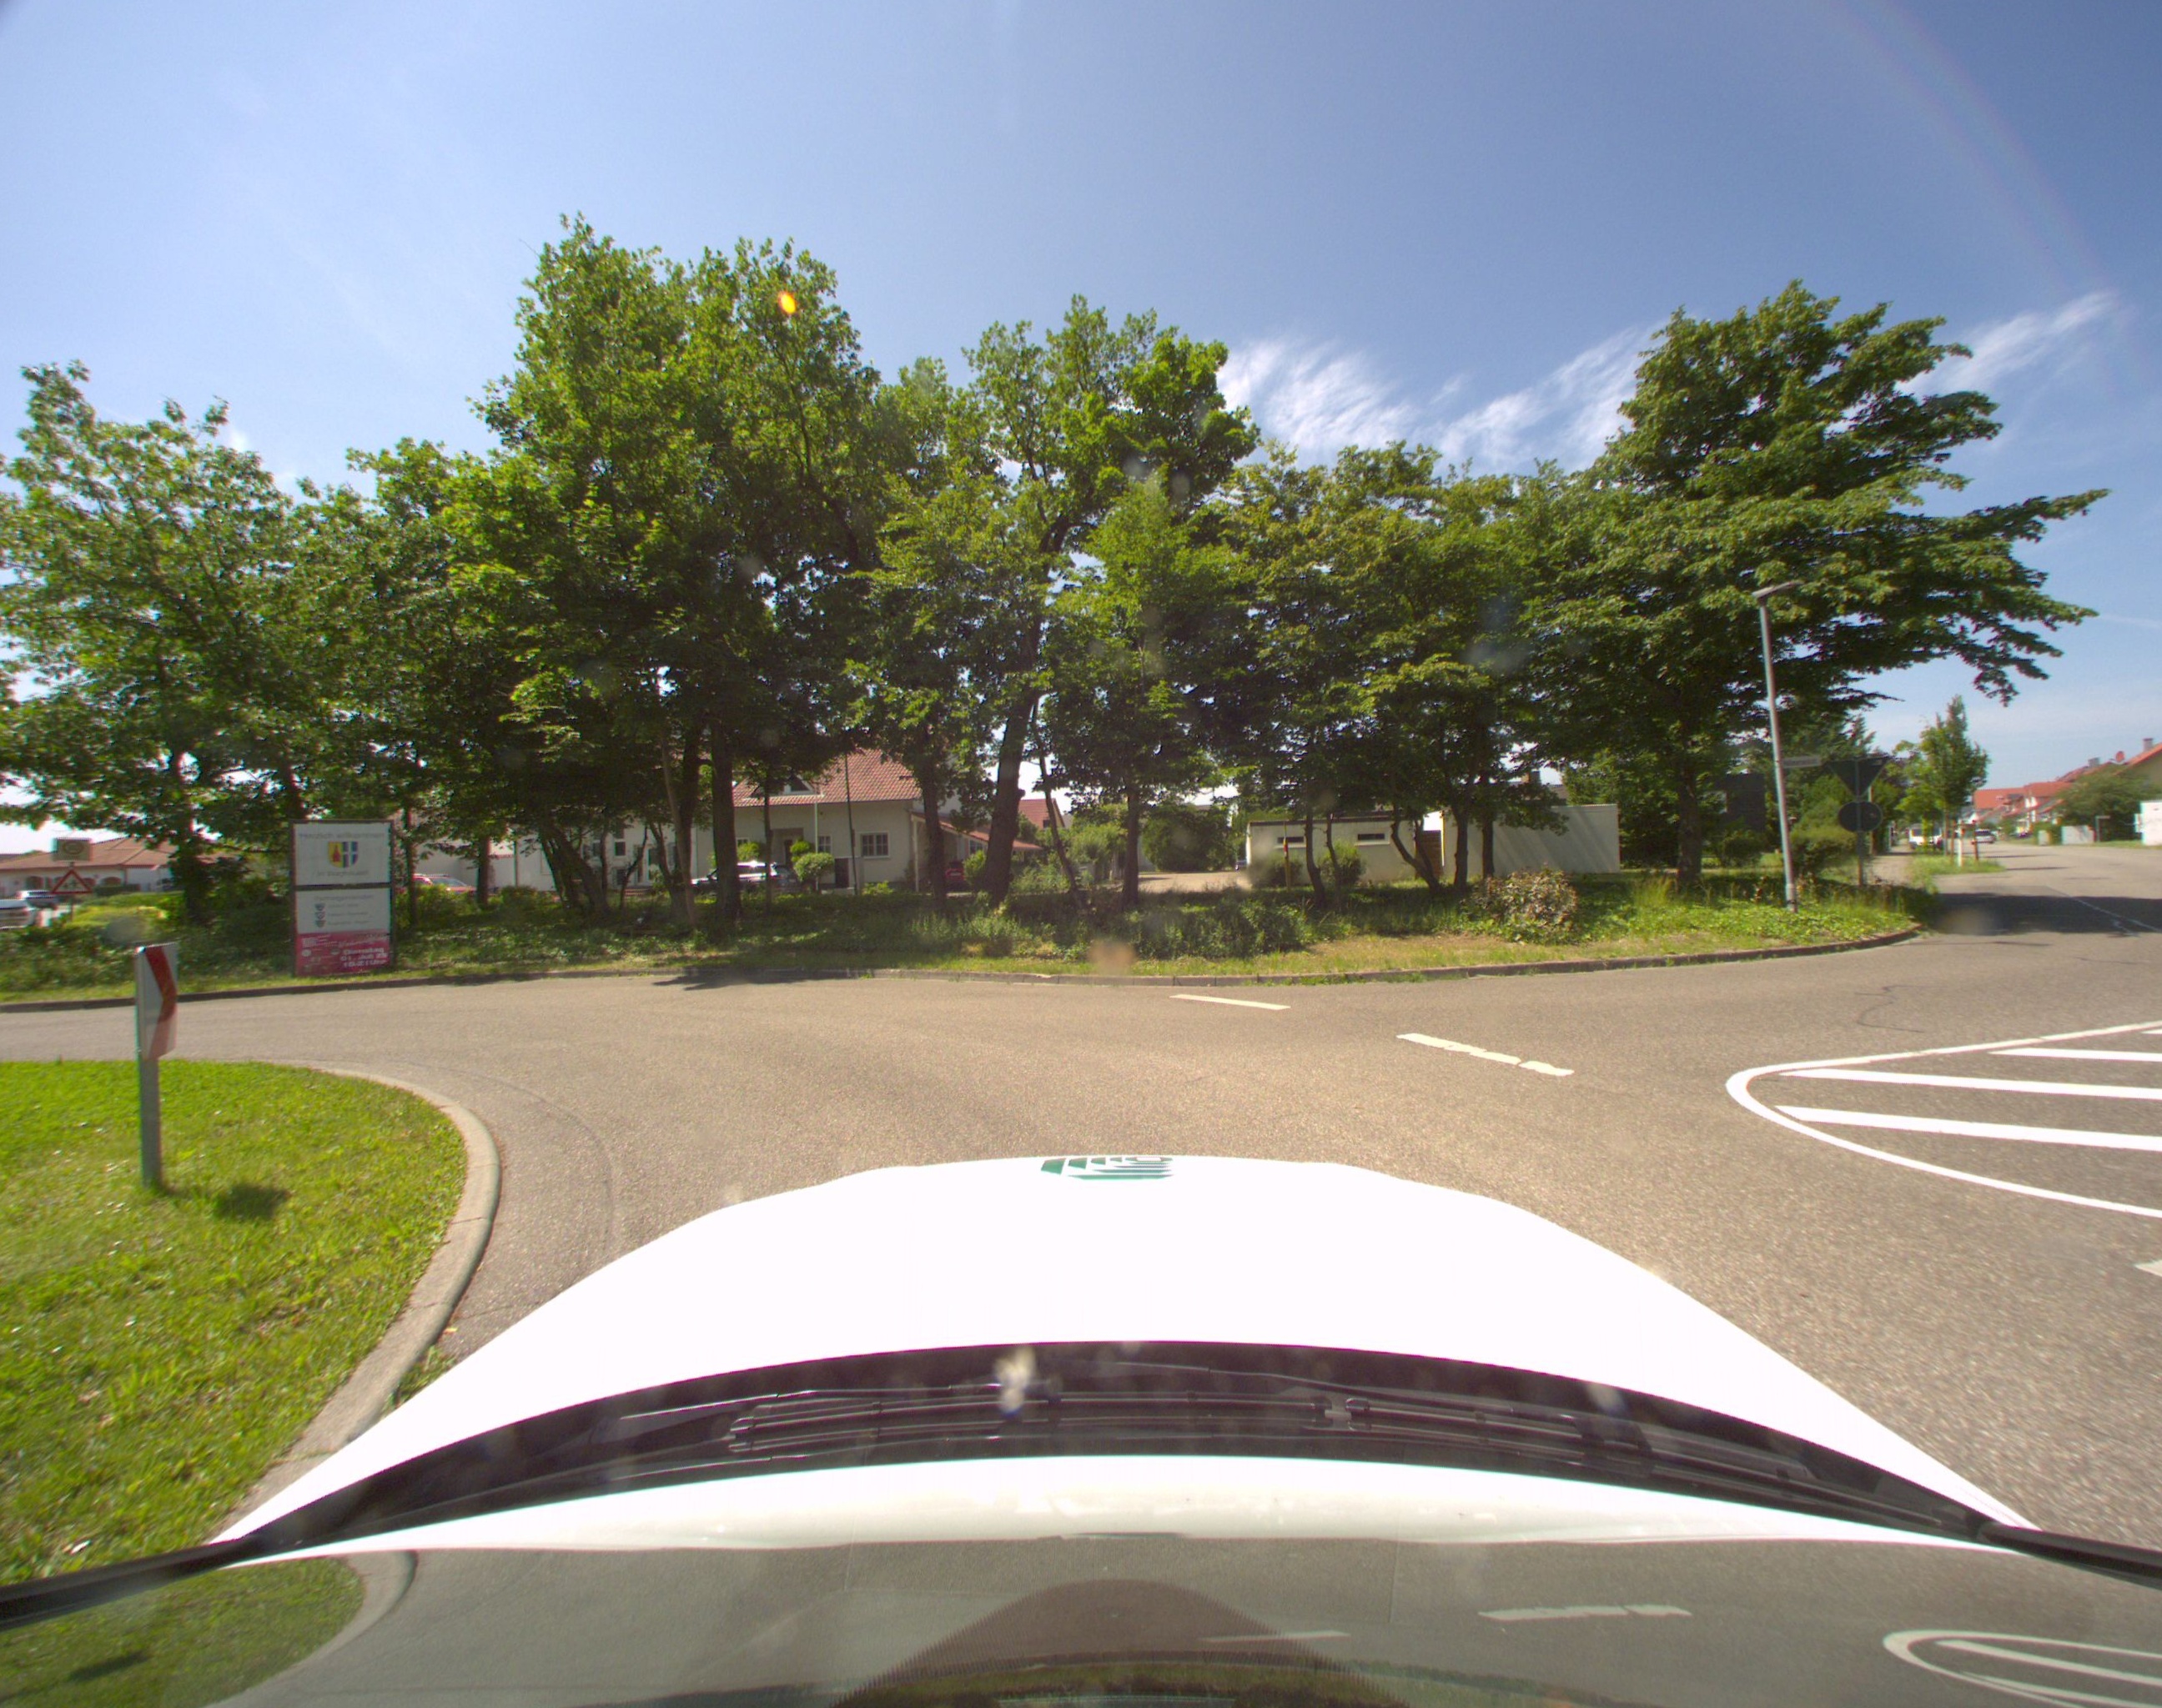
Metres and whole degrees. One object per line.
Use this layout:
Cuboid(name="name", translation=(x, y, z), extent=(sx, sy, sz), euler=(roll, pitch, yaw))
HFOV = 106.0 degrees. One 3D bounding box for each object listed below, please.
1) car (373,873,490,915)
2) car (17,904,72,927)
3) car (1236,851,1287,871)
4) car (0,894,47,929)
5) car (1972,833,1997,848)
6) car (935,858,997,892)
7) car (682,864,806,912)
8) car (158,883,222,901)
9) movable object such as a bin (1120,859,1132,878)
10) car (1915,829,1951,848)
Cuboid(name="car", translation=(-27.471, 1.686, 34.464), extent=(3.986, 1.601, 1.672), euler=(-2, -1, 12))
Cuboid(name="car", translation=(-73.067, 4.327, 57.392), extent=(3.950, 1.486, 1.643), euler=(-2, 0, 27))
Cuboid(name="car", translation=(12.263, 0.481, 55.589), extent=(3.250, 1.253, 1.577), euler=(-2, 0, 7))
Cuboid(name="car", translation=(-42.152, 2.254, 32.044), extent=(3.511, 1.288, 1.630), euler=(-2, -1, 41))
Cuboid(name="car", translation=(112.662, -1.685, 101.586), extent=(4.023, 1.661, 1.819), euler=(1, -3, -45))
Cuboid(name="car", translation=(-5.288, 0.945, 37.992), extent=(1.668, 1.385, 3.706), euler=(-2, 0, 12))
Cuboid(name="car", translation=(-13.014, 1.301, 31.534), extent=(4.107, 1.705, 1.670), euler=(-2, -1, 8))
Cuboid(name="car", translation=(-84.165, 3.580, 77.026), extent=(1.843, 1.542, 3.834), euler=(-2, 0, -2))
Cuboid(name="movable object such as a bin", translation=(2.755, 0.901, 49.679), extent=(0.653, 1.112, 0.458), euler=(-2, 0, 7))
Cuboid(name="car", translation=(74.994, -1.350, 71.690), extent=(1.736, 1.480, 3.819), euler=(-3, -3, 40))
